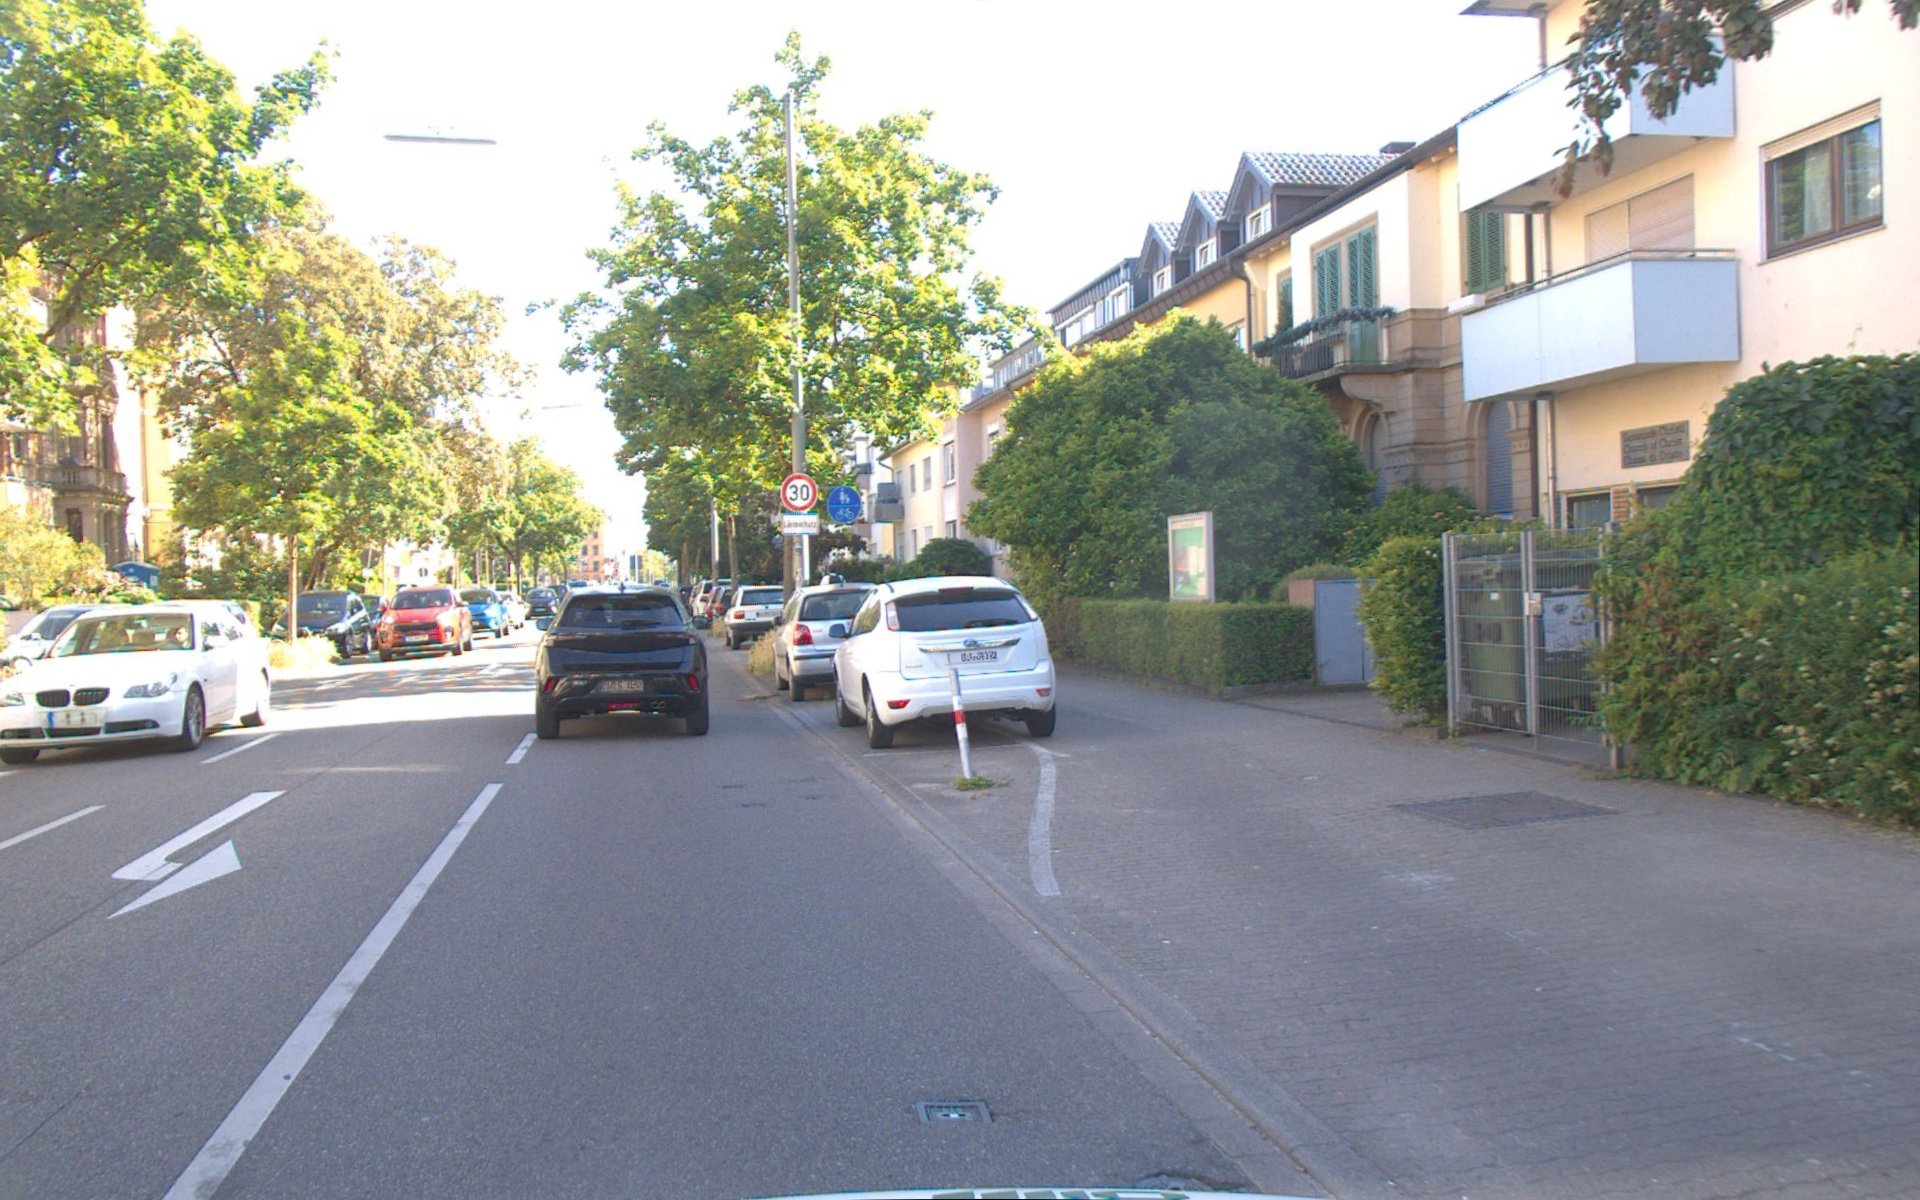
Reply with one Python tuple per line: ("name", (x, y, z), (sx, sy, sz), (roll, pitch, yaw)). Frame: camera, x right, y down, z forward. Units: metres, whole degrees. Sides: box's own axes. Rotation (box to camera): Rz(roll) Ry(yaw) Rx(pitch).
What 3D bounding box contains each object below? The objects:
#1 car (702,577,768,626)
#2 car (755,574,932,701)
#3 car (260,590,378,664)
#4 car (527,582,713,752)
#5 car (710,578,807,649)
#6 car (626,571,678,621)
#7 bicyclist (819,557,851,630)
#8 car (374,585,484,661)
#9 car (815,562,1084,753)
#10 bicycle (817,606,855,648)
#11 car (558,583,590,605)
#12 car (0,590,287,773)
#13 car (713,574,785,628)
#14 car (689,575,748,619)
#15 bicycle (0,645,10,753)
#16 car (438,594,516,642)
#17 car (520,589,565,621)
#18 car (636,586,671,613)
("car", (-7.648, 0.023, 55.895), (1.876, 1.454, 3.989), (-5, 1, -11))
("car", (-1.717, 0.460, 23.056), (1.876, 1.454, 3.989), (-5, 1, -11))
("car", (-15.760, 0.617, 40.900), (1.777, 1.585, 4.239), (-4, 1, -9))
("car", (-3.640, 0.624, 18.074), (1.730, 1.585, 3.991), (-2, 1, -10))
("car", (-4.833, 0.291, 39.269), (1.876, 1.454, 3.989), (-5, 1, -11))
("car", (-10.338, -0.126, 55.716), (1.562, 1.593, 4.080), (-1, 0, -9))
("bicyclist", (-2.769, -0.159, 36.574), (0.544, 1.576, 0.812), (-2, 1, -12))
("car", (-12.588, 0.499, 39.442), (1.777, 1.585, 4.240), (-4, 1, -9))
("car", (-0.246, 0.475, 16.356), (1.876, 1.545, 3.989), (-3, 1, -11))
("bicycle", (-2.748, 0.585, 36.582), (0.543, 0.848, 2.125), (-2, 2, -12))
("car", (-26.823, -0.428, 114.987), (1.777, 1.412, 4.239), (-4, 1, -9))
("car", (-8.739, 0.764, 17.768), (1.777, 1.585, 4.240), (-4, 1, -9))
("car", (-6.610, 0.019, 51.507), (1.876, 1.454, 3.989), (-5, 1, -11))
("car", (-9.134, -0.136, 62.389), (1.876, 1.454, 3.989), (-5, 1, -11))
("bicycle", (-11.338, 1.098, 18.206), (1.540, 1.182, 0.448), (-2, -8, 11))
("car", (-15.238, 0.538, 52.335), (1.777, 1.305, 4.240), (-4, 1, -9))
("car", (-20.993, 0.227, 83.284), (1.777, 1.412, 4.240), (-4, 1, -9))
("car", (-18.028, -0.039, 97.206), (1.805, 1.458, 4.163), (-2, 1, -12))
